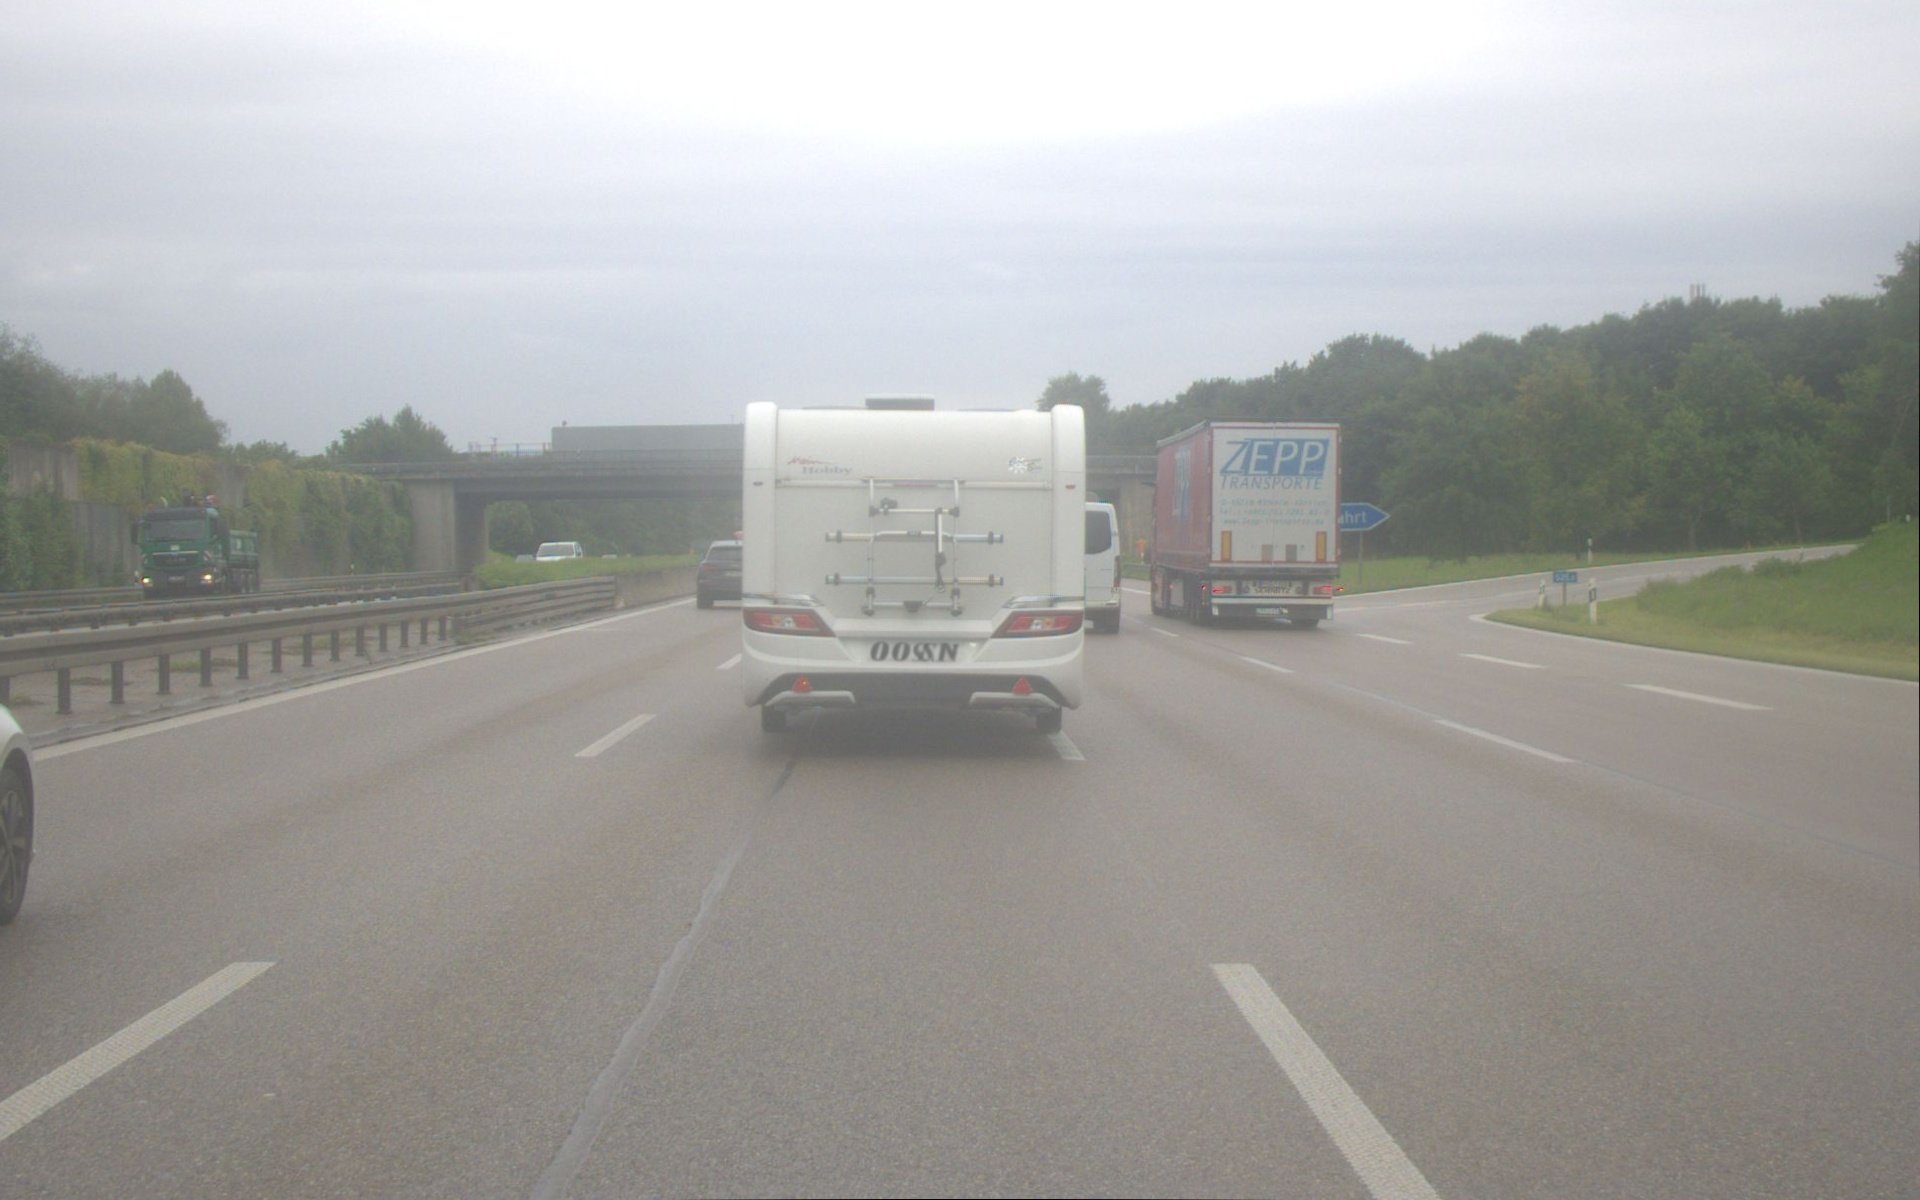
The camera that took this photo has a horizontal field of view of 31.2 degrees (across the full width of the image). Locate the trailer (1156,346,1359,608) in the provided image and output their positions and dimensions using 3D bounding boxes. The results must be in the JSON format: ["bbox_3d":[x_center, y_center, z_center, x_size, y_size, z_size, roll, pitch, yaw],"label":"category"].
[{"bbox_3d":[5.968,-2.395,70.913,3.100,4.905,11.790,1,1,0],"label":"trailer"}]

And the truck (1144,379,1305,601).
[{"bbox_3d":[5.951,-2.441,78.247,3.048,4.822,5.850,1,1,-1],"label":"truck"}]

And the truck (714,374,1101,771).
[{"bbox_3d":[-0.426,-0.222,26.585,2.661,2.733,5.078,1,1,-1],"label":"truck"}]

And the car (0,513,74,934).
[{"bbox_3d":[-4.537,0.504,11.976,1.753,1.612,4.664,-1,1,-1],"label":"car"}]

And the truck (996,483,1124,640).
[{"bbox_3d":[1.803,-0.712,63.907,2.053,2.760,5.549,1,1,-1],"label":"truck"}]

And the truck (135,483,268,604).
[{"bbox_3d":[-24.606,-1.819,111.839,2.691,3.764,8.338,1,1,-2],"label":"truck"}]
